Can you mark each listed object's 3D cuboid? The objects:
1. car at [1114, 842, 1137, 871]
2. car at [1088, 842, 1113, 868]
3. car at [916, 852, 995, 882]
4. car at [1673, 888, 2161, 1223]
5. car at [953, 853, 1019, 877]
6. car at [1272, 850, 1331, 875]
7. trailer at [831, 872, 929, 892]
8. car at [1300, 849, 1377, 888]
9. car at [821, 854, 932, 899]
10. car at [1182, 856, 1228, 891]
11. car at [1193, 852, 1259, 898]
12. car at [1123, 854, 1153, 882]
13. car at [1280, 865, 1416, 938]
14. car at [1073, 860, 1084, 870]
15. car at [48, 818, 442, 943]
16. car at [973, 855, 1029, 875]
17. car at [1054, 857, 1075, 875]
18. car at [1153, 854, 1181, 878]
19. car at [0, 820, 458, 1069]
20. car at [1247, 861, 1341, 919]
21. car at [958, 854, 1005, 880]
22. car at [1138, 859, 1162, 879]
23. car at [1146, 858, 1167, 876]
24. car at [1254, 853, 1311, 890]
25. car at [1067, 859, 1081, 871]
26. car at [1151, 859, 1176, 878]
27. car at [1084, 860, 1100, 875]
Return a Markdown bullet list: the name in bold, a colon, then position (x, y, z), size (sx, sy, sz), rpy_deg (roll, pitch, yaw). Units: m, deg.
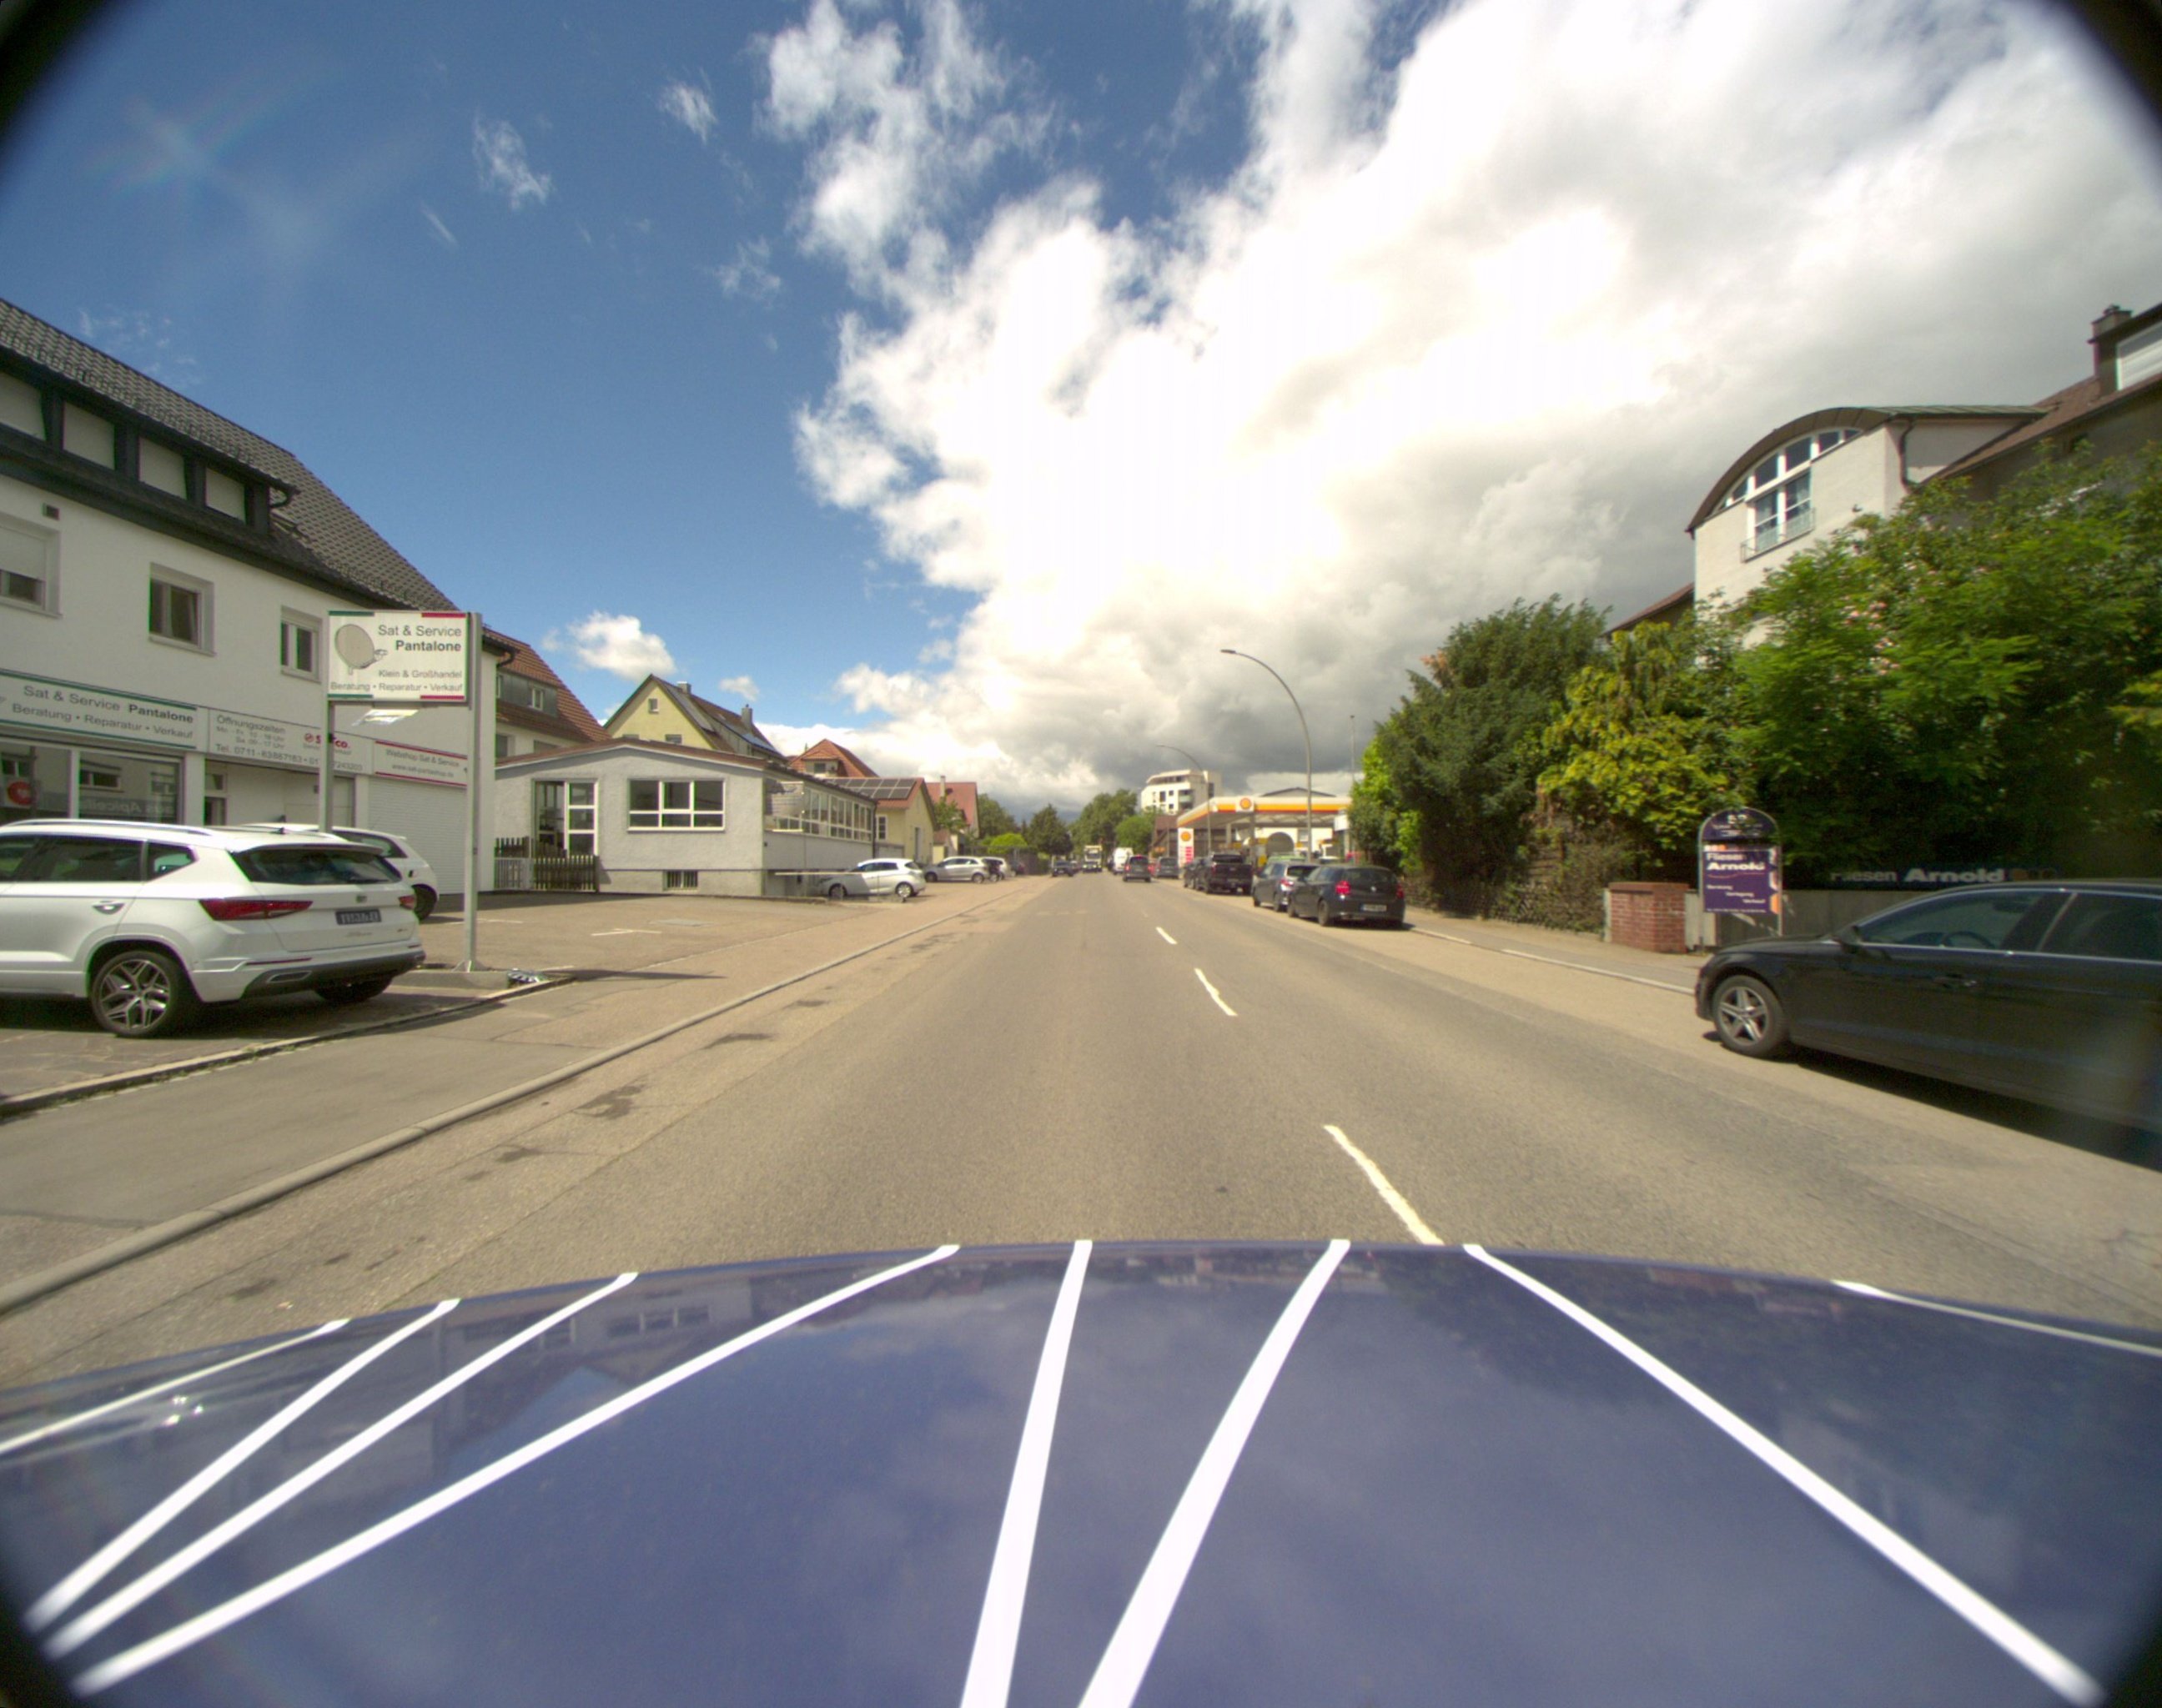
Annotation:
- **car**: position (4.494, 0.255, 77.894), size (1.997, 2.749, 6.164), rpy_deg (1, 0, 1)
- **car**: position (2.805, 0.135, 111.319), size (3.263, 3.596, 10.268), rpy_deg (-1, 0, -1)
- **car**: position (-7.601, 0.776, 46.326), size (4.419, 1.599, 1.974), rpy_deg (3, 0, -2)
- **car**: position (5.759, 0.993, 4.163), size (1.667, 1.406, 4.338), rpy_deg (1, 0, 1)
- **car**: position (-6.767, 0.801, 54.525), size (4.419, 1.516, 1.974), rpy_deg (3, 0, -2)
- **car**: position (17.143, 0.610, 58.994), size (4.993, 1.841, 1.970), rpy_deg (-1, 0, -41)
- **trailer**: position (-8.663, 1.209, 32.997), size (3.826, 0.803, 1.657), rpy_deg (0, 0, -1)
- **car**: position (12.997, 0.701, 38.584), size (1.798, 1.775, 4.334), rpy_deg (-3, 1, -10)
- **car**: position (-8.105, 0.883, 30.321), size (3.909, 1.599, 1.749), rpy_deg (-2, 0, 0)
- **car**: position (6.409, 0.990, 39.657), size (1.667, 1.670, 4.527), rpy_deg (1, 0, 1)
- **car**: position (6.380, 0.890, 34.032), size (1.915, 1.810, 5.430), rpy_deg (3, 0, 1)
- **car**: position (3.853, 0.926, 51.623), size (1.667, 1.785, 4.338), rpy_deg (1, 0, 0)
- **car**: position (6.083, 1.012, 17.872), size (1.667, 1.427, 4.338), rpy_deg (2, 0, 1)
- **car**: position (-0.404, 1.774, 125.538), size (1.789, 1.555, 3.880), rpy_deg (-1, 0, 1)
- **car**: position (-12.265, 0.380, 11.545), size (1.634, 1.510, 3.668), rpy_deg (3, -1, 8)
- **car**: position (-6.566, 0.892, 62.752), size (4.419, 1.399, 1.974), rpy_deg (3, 0, -2)
- **car**: position (-1.525, 1.117, 71.477), size (1.789, 1.548, 4.317), rpy_deg (-1, 0, 2)
- **car**: position (6.819, 0.948, 60.626), size (1.733, 1.727, 4.190), rpy_deg (3, 0, 1)
- **car**: position (-8.168, 0.616, 6.422), size (4.202, 1.644, 1.867), rpy_deg (3, 0, 1)
- **car**: position (6.256, 1.011, 22.749), size (1.667, 1.502, 3.945), rpy_deg (3, 0, 1)
- **car**: position (-6.635, 0.859, 50.845), size (2.895, 1.516, 1.974), rpy_deg (3, 0, -2)
- **car**: position (6.912, 1.491, 76.620), size (1.789, 1.857, 4.315), rpy_deg (3, 0, -2)
- **car**: position (7.044, 1.188, 71.280), size (1.666, 1.505, 3.946), rpy_deg (3, 0, 2)
- **car**: position (10.308, 0.856, 39.172), size (1.797, 1.775, 4.338), rpy_deg (-1, 0, 0)
- **car**: position (-0.985, 1.505, 104.736), size (1.789, 1.555, 3.880), rpy_deg (-1, 0, 1)
- **car**: position (7.117, 1.264, 65.953), size (1.667, 1.505, 4.190), rpy_deg (3, 0, 1)
- **car**: position (1.394, 1.687, 96.434), size (1.891, 1.708, 3.999), rpy_deg (1, 0, 0)
